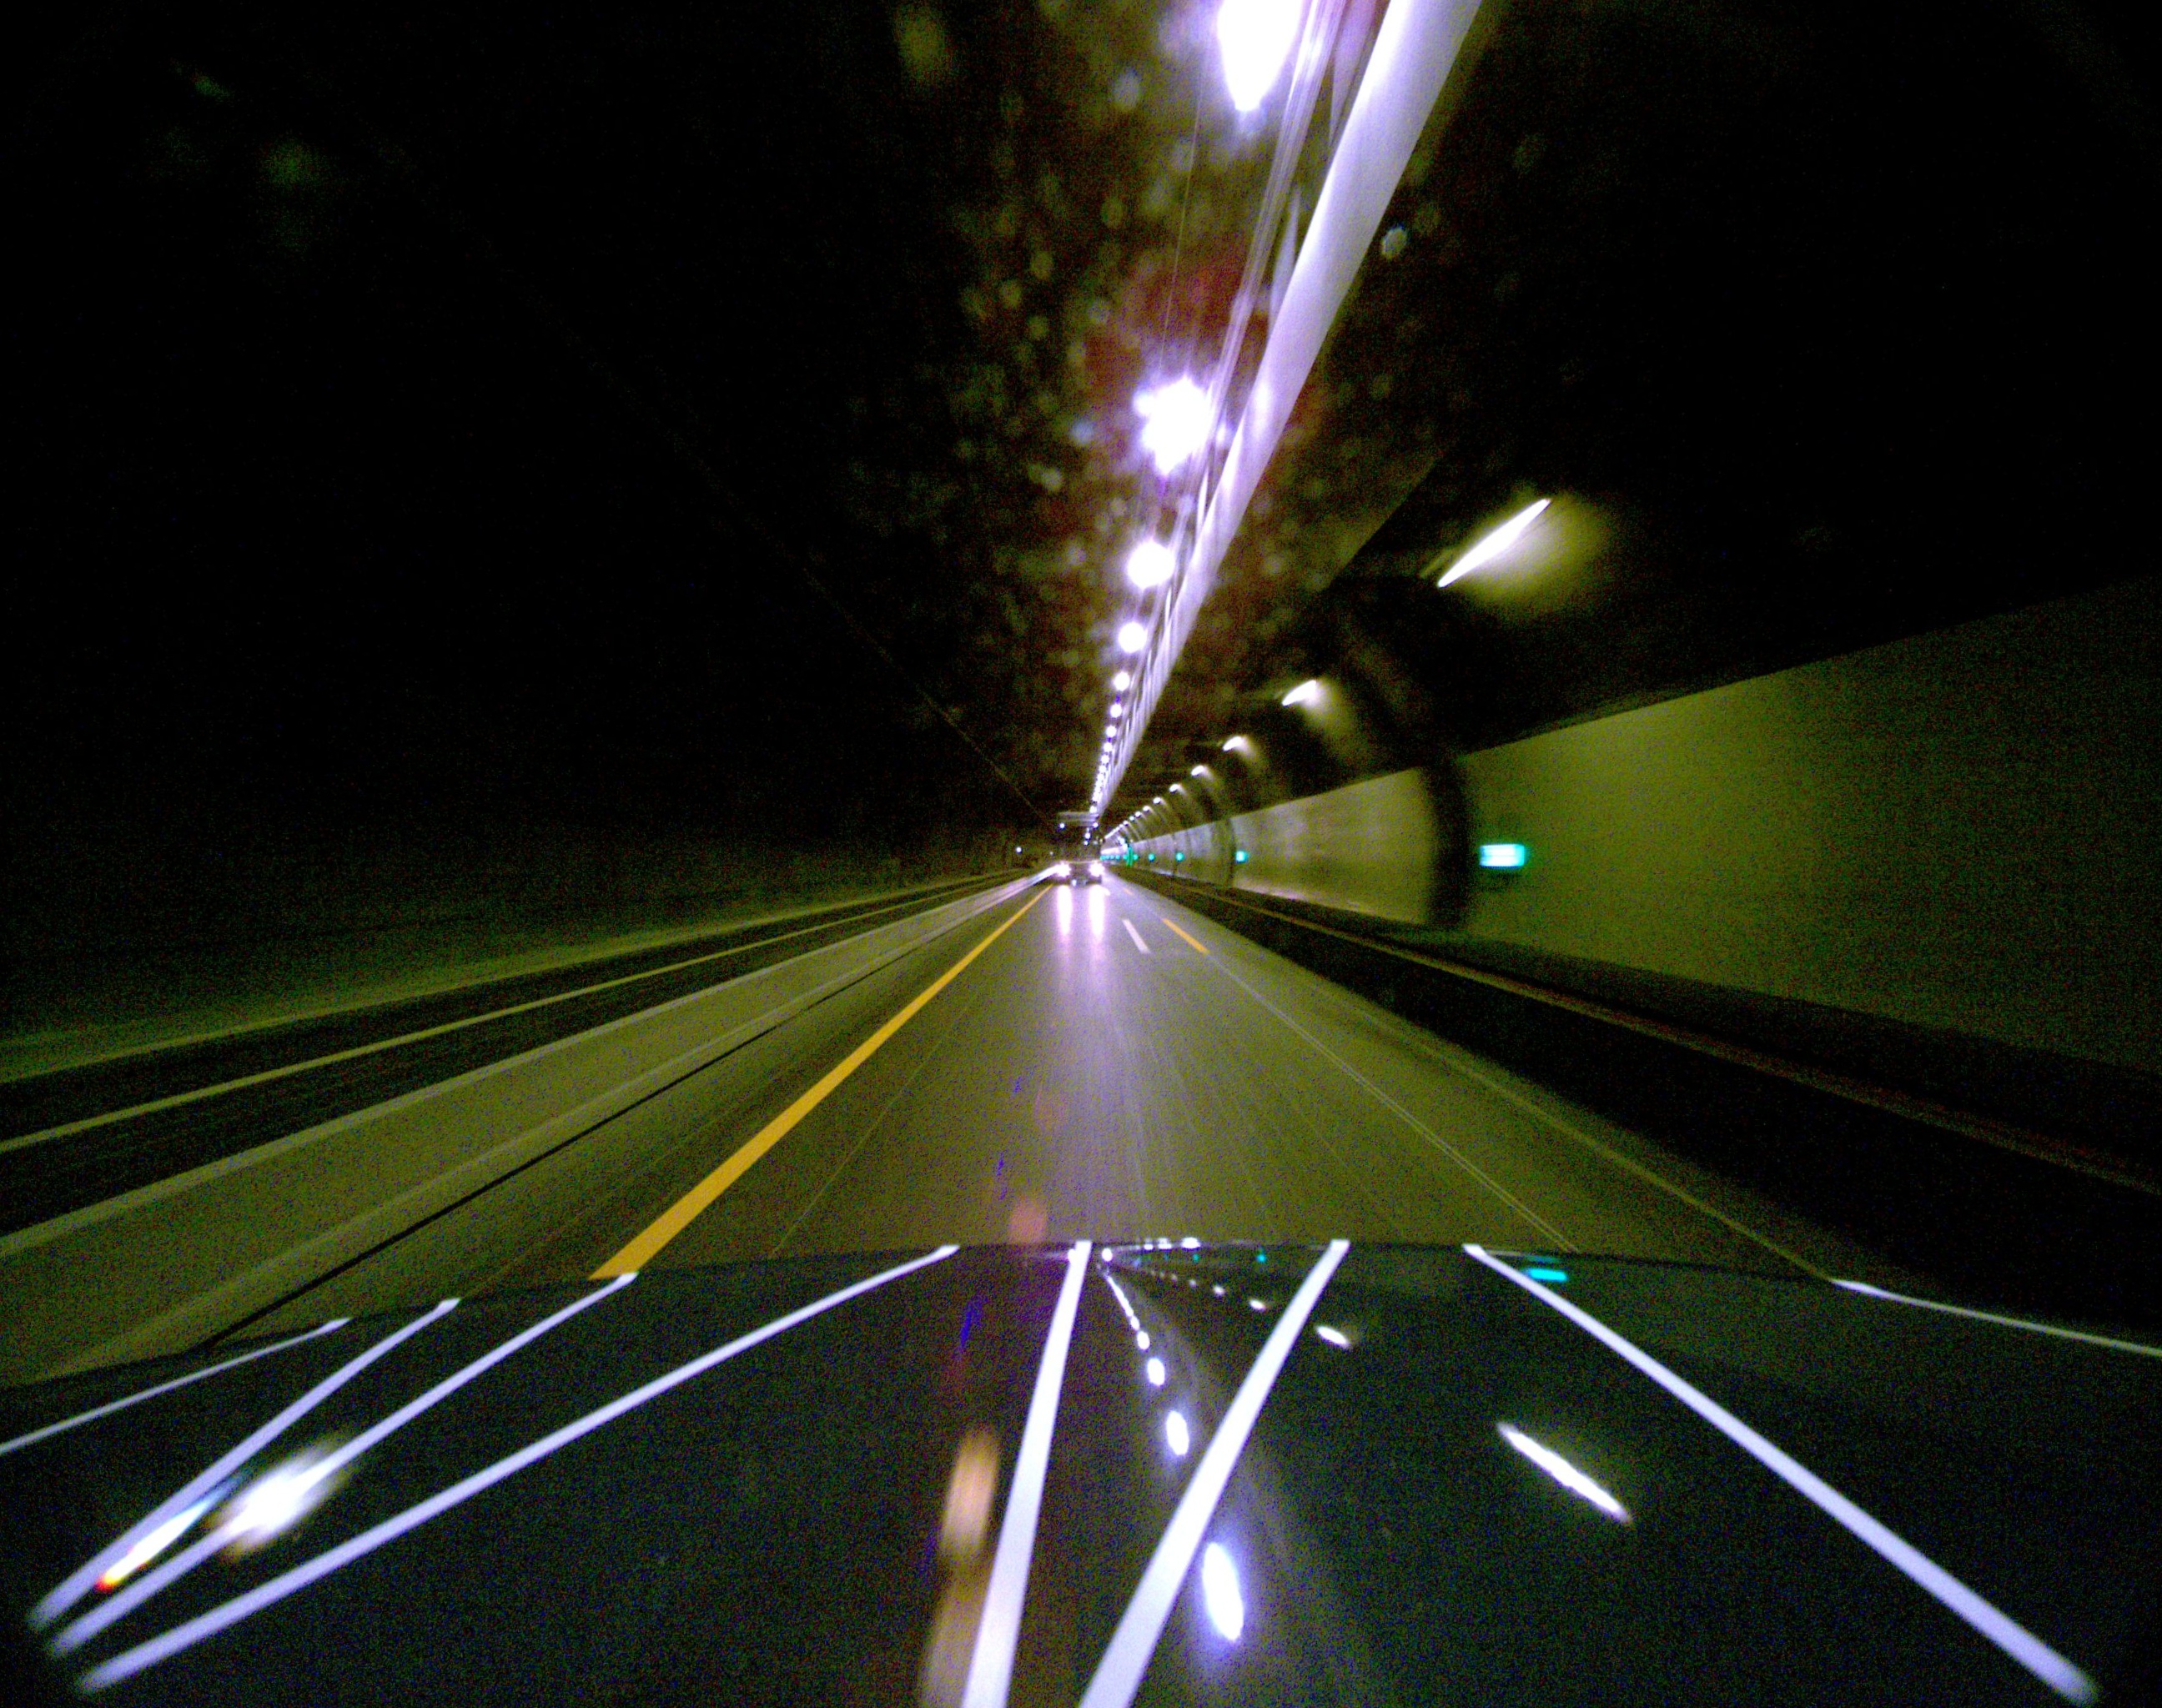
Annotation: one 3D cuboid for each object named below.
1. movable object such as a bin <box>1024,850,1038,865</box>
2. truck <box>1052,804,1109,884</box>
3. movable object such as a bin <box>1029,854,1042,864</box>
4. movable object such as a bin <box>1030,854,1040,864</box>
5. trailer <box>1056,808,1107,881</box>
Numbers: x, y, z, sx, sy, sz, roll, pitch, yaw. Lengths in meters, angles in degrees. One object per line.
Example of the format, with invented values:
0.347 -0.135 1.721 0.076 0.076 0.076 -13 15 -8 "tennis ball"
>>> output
-7.786 0.548 118.606 1.688 2.133 4.627 -2 1 0 "movable object such as a bin"
0.004 -0.571 45.250 2.951 4.338 6.674 -2 1 0 "truck"
-7.872 0.811 131.774 1.865 1.665 4.501 2 0 0 "movable object such as a bin"
-7.564 0.812 125.067 1.560 1.699 3.054 -2 1 0 "movable object such as a bin"
0.045 -0.628 50.666 2.940 4.316 10.051 -2 1 0 "trailer"
